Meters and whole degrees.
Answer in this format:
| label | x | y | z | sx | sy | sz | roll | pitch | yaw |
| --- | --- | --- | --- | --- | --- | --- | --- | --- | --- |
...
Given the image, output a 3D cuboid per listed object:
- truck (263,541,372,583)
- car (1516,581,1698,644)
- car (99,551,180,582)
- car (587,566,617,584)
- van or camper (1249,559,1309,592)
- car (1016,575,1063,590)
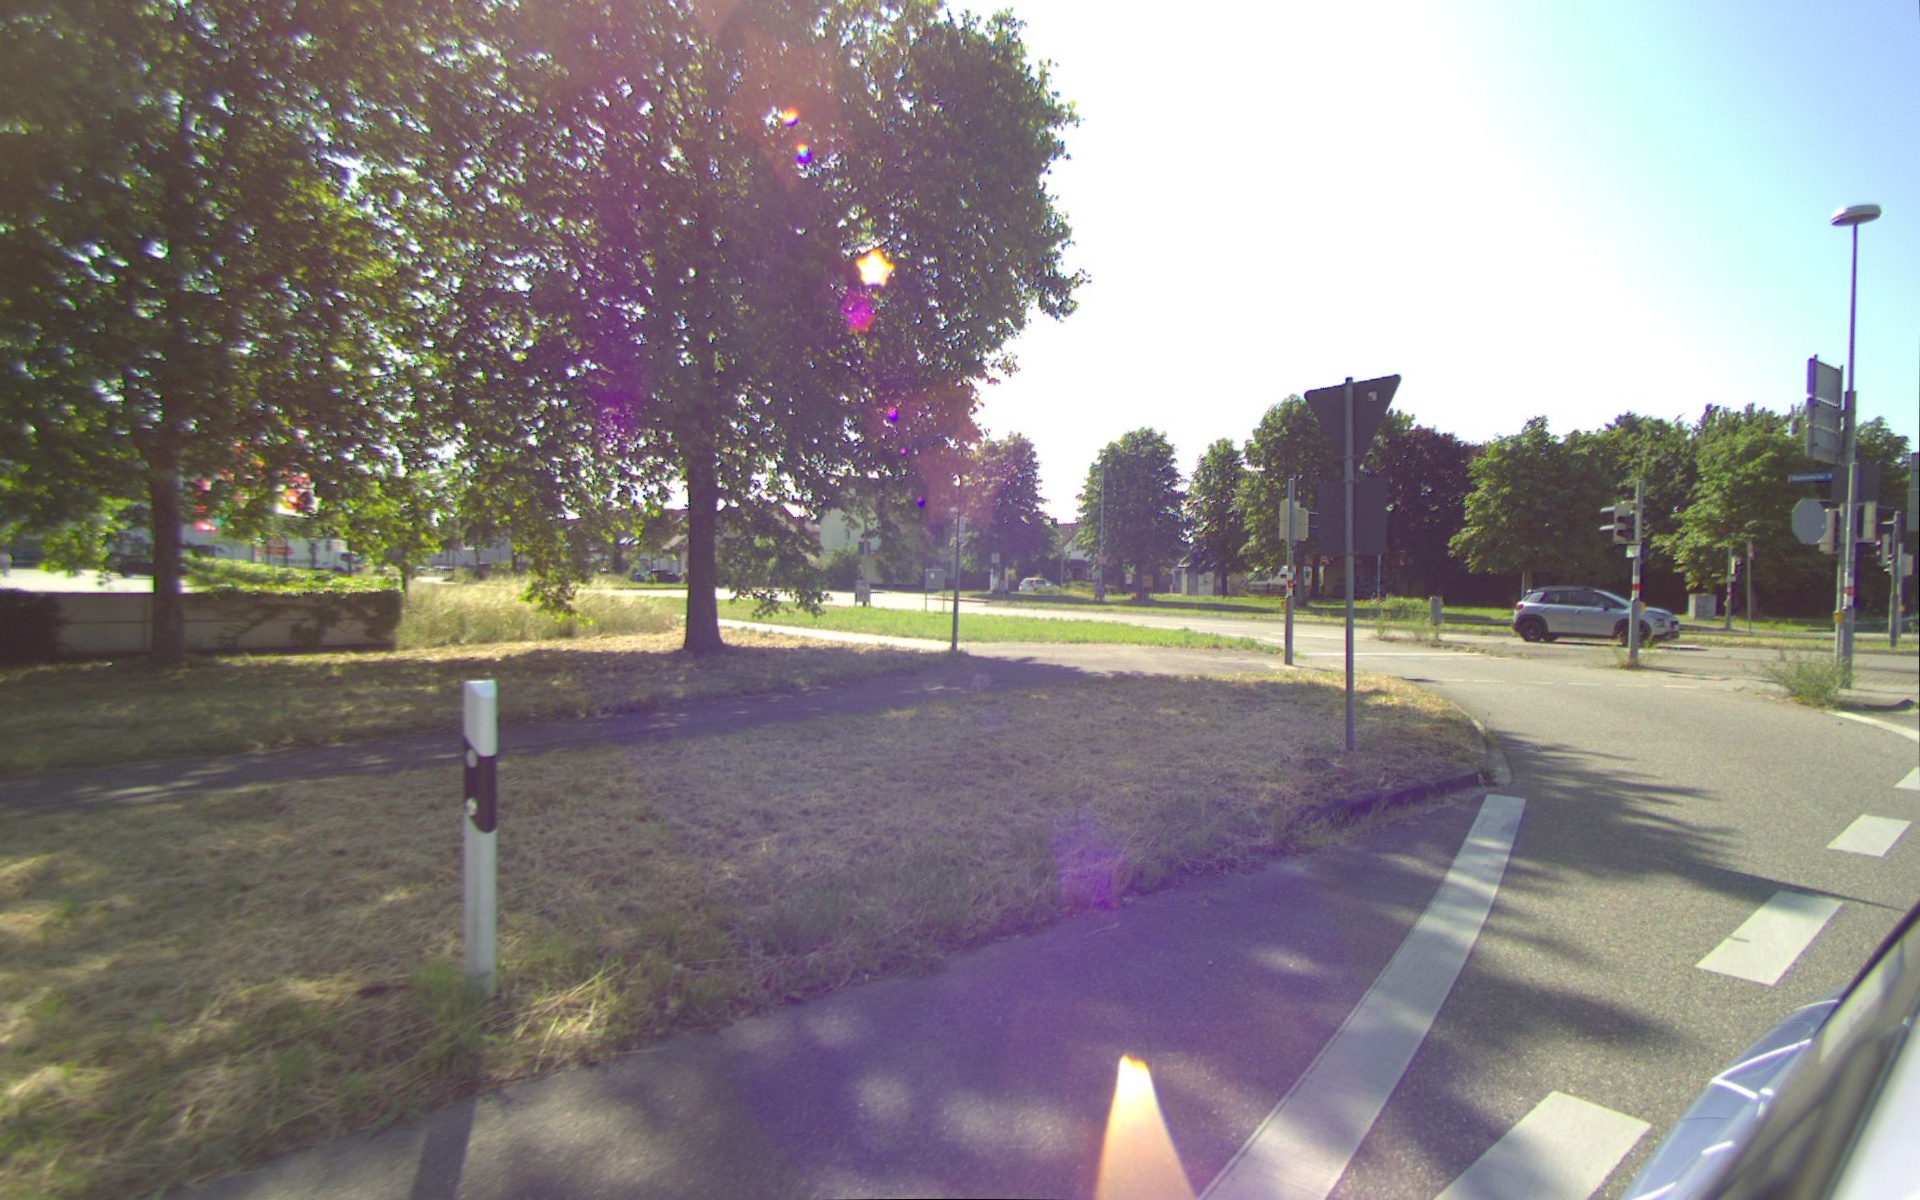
| label | x | y | z | sx | sy | sz | roll | pitch | yaw |
| --- | --- | --- | --- | --- | --- | --- | --- | --- | --- |
| truck | -58.861 | -3.456 | 92.880 | 8.082 | 3.589 | 2.638 | 1 | 1 | -11 |
| car | 18.444 | 0.308 | 28.980 | 1.712 | 1.583 | 4.059 | 0 | 2 | -41 |
| car | -56.100 | -2.290 | 69.265 | 4.266 | 2.039 | 1.998 | -1 | 1 | -39 |
| car | -38.631 | -2.685 | 109.201 | 1.963 | 1.950 | 3.998 | -1 | 1 | -37 |
| van or camper | 28.842 | -2.253 | 91.640 | 1.966 | 2.866 | 4.806 | 0 | 2 | -43 |
| car | 6.840 | -1.493 | 86.536 | 3.929 | 1.304 | 1.731 | 0 | 2 | -40 |
